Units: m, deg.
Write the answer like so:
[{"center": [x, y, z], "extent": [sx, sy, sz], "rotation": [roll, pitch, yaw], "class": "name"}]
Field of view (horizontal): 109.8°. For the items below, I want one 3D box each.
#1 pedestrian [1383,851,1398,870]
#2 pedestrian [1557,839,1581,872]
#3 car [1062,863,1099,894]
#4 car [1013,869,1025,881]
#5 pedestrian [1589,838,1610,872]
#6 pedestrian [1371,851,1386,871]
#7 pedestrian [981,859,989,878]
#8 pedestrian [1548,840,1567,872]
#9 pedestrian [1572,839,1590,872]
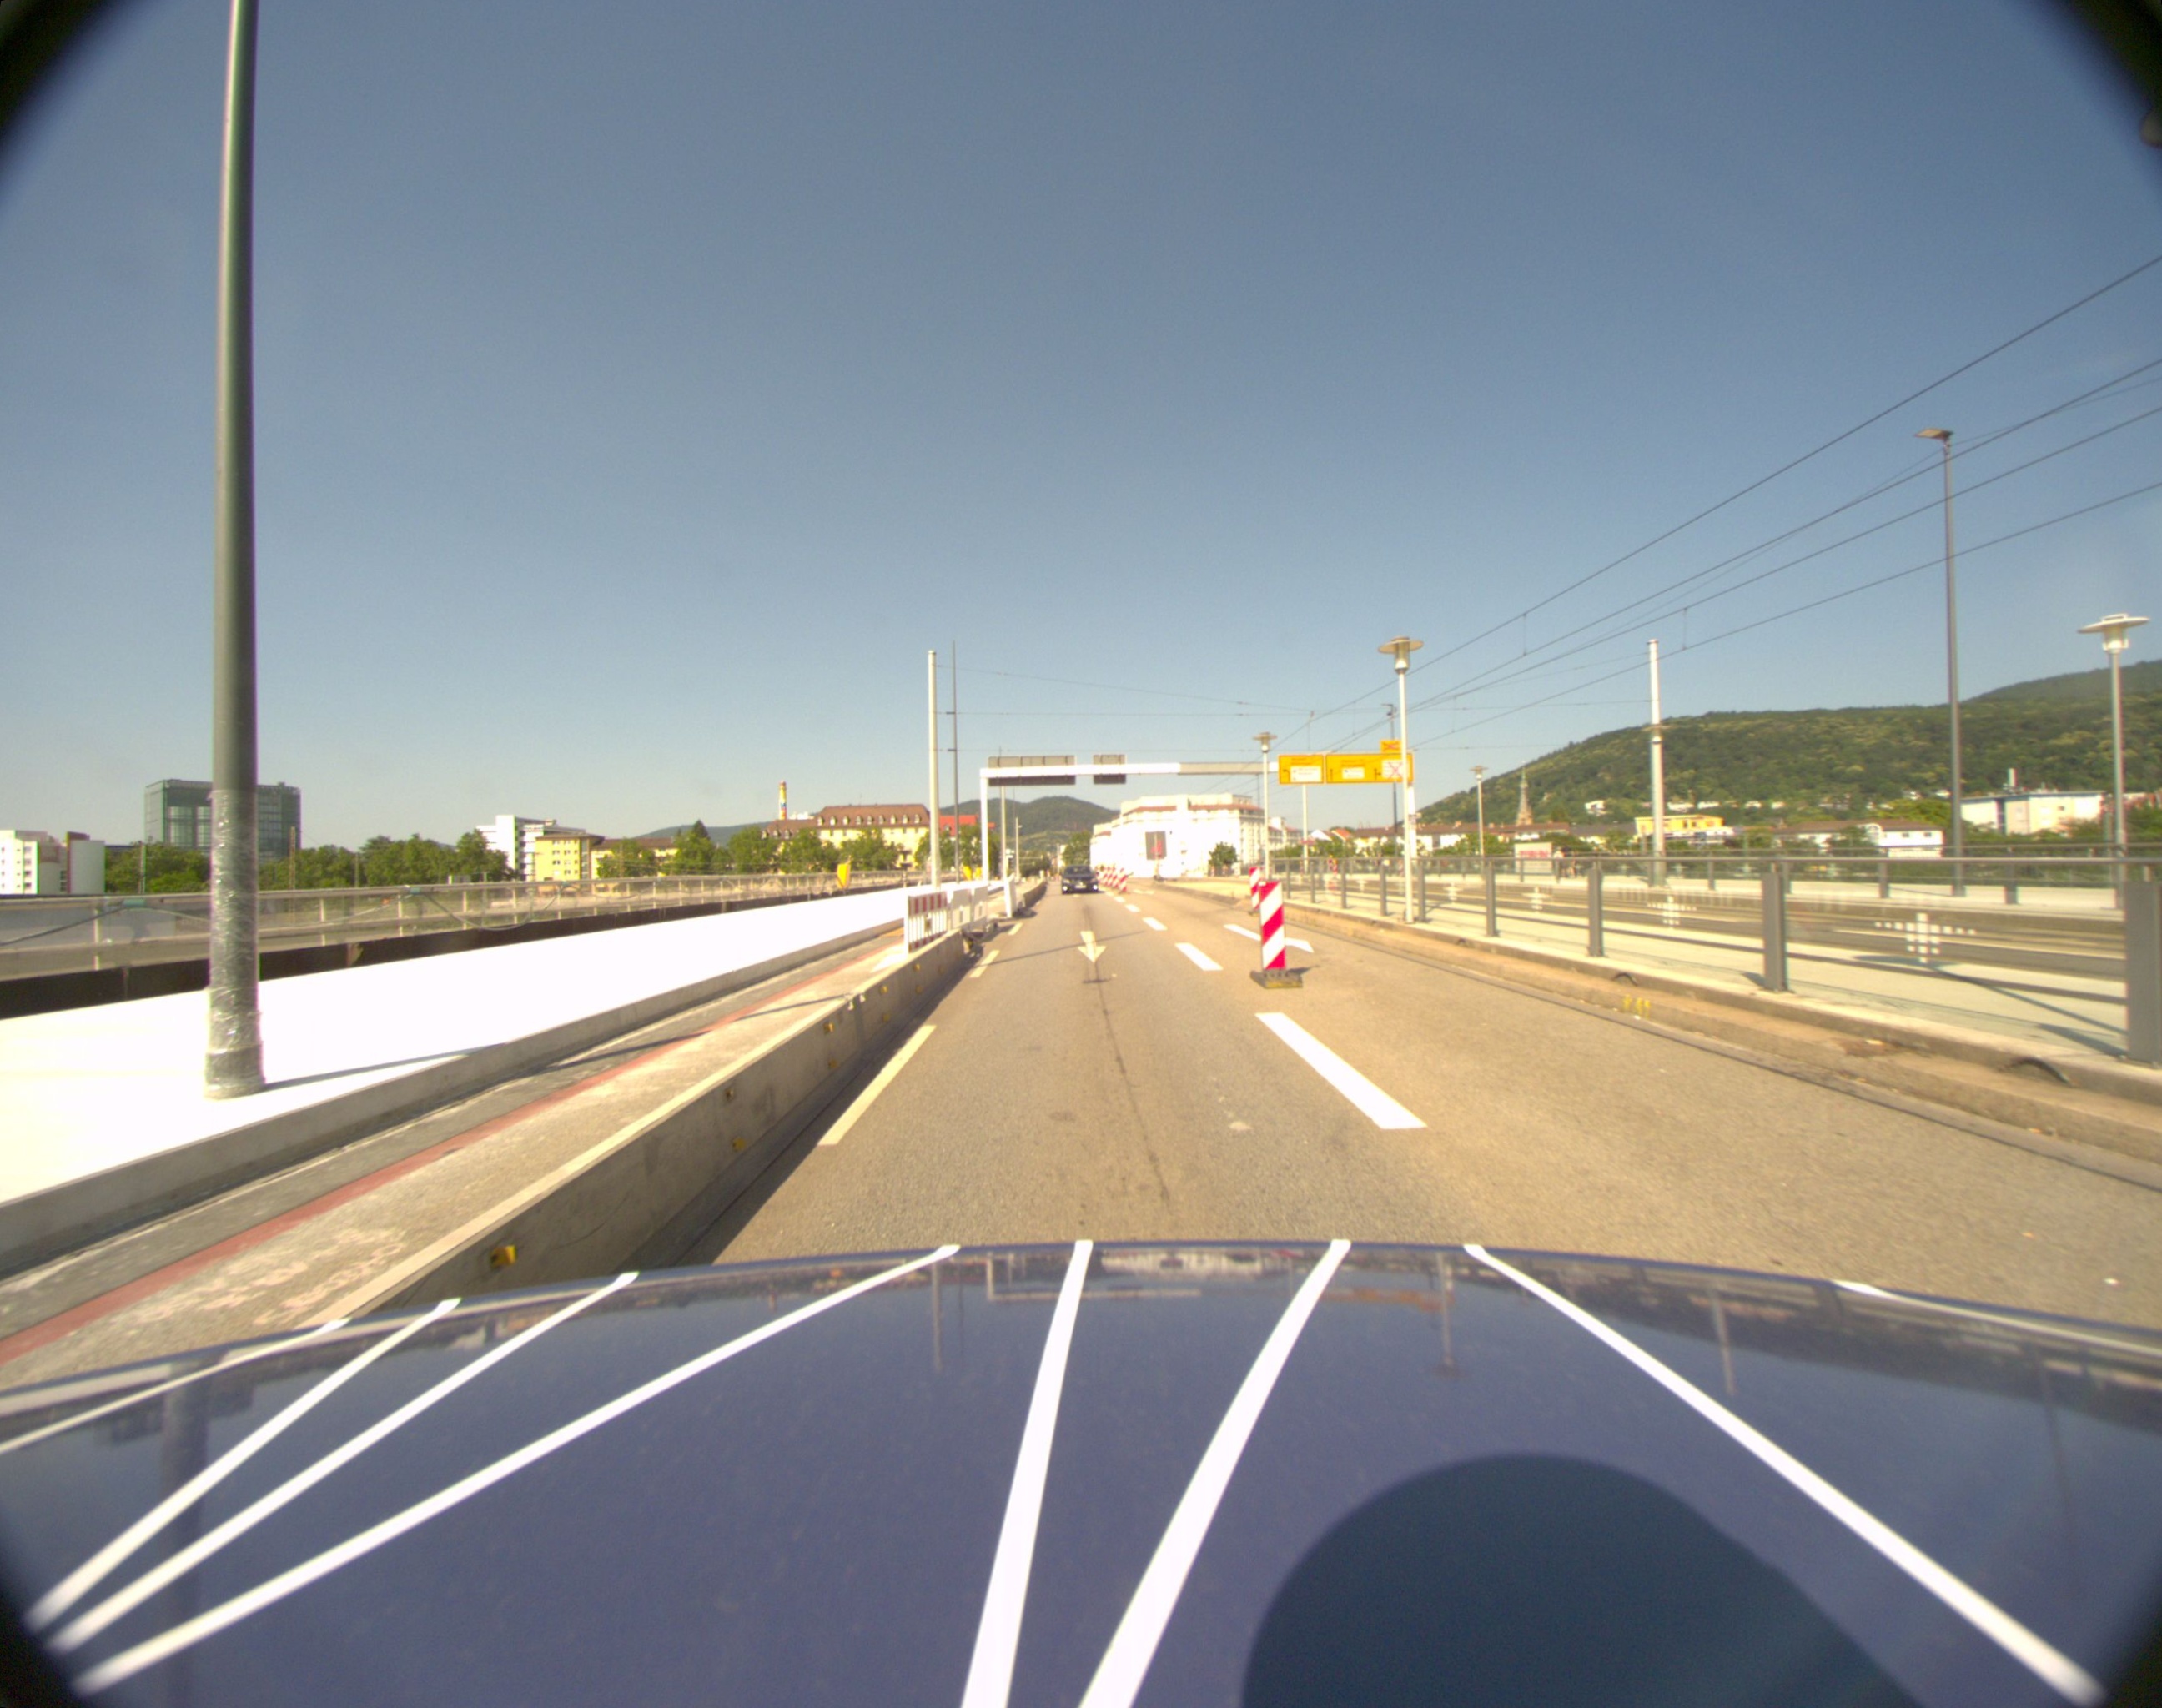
[{"center": [25.483, 0.557, 62.620], "extent": [0.721, 1.535, 0.889], "rotation": [-4, -1, -3], "class": "pedestrian"}, {"center": [25.316, 0.090, 39.414], "extent": [0.754, 1.677, 0.732], "rotation": [-1, -1, 0], "class": "pedestrian"}, {"center": [-0.088, 1.211, 38.361], "extent": [1.698, 1.388, 4.363], "rotation": [-3, -1, -2], "class": "car"}, {"center": [-11.824, 4.078, 145.633], "extent": [1.938, 2.077, 6.471], "rotation": [-2, -2, -2], "class": "car"}, {"center": [26.420, 0.052, 38.737], "extent": [0.505, 1.677, 0.773], "rotation": [-1, -1, 0], "class": "pedestrian"}, {"center": [24.525, 0.605, 62.714], "extent": [0.746, 1.632, 0.895], "rotation": [-4, -1, -3], "class": "pedestrian"}, {"center": [-10.242, 1.541, 81.008], "extent": [0.733, 1.953, 1.016], "rotation": [0, -1, -3], "class": "pedestrian"}, {"center": [25.504, 0.129, 40.670], "extent": [0.487, 1.677, 0.808], "rotation": [-1, -1, 0], "class": "pedestrian"}, {"center": [26.097, 0.091, 39.655], "extent": [0.384, 1.677, 0.770], "rotation": [-1, -1, 0], "class": "pedestrian"}]
